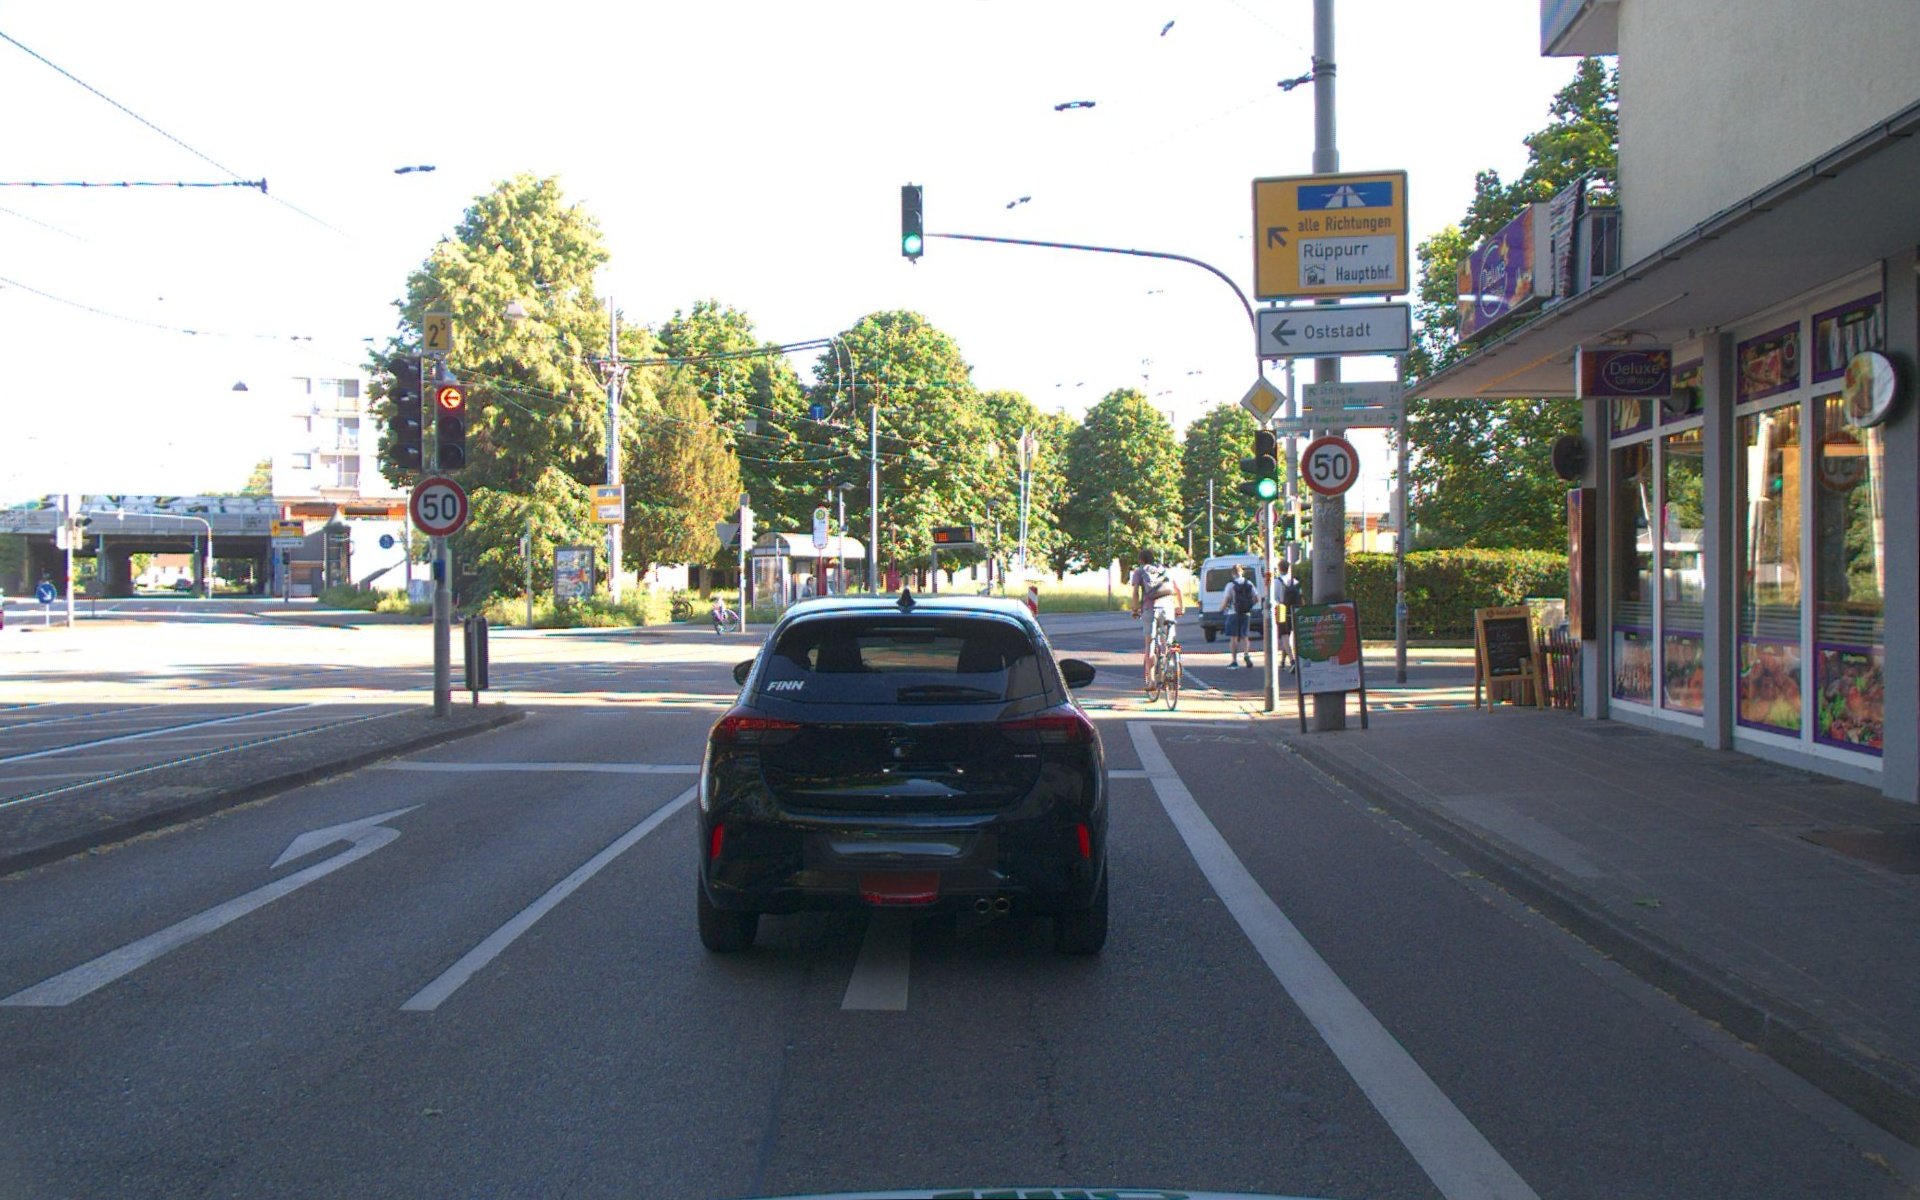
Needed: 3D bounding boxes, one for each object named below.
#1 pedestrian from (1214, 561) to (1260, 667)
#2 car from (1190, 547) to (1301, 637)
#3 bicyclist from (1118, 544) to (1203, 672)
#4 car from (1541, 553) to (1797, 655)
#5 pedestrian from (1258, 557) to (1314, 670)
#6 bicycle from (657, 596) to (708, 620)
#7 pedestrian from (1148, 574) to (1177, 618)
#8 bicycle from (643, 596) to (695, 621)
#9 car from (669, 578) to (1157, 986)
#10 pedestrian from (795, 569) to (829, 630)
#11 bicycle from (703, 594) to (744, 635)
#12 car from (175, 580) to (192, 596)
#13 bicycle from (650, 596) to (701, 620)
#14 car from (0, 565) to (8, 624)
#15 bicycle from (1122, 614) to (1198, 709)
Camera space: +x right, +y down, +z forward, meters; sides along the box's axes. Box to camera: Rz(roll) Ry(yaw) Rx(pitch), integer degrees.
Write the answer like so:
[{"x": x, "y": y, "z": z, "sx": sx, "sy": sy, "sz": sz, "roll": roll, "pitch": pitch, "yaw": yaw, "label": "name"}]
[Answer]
[{"x": 4.801, "y": 0.238, "z": 28.688, "sx": 0.684, "sy": 1.823, "sz": 0.617, "roll": 0, "pitch": 0, "yaw": -1, "label": "pedestrian"}, {"x": 7.836, "y": -0.195, "z": 45.034, "sx": 2.047, "sy": 2.317, "sz": 4.305, "roll": 1, "pitch": 0, "yaw": 23, "label": "car"}, {"x": 2.470, "y": 0.084, "z": 20.516, "sx": 0.823, "sy": 1.536, "sz": 1.368, "roll": 0, "pitch": 1, "yaw": -3, "label": "bicyclist"}, {"x": 13.350, "y": 0.109, "z": 31.352, "sx": 4.087, "sy": 1.846, "sz": 1.807, "roll": 0, "pitch": -2, "yaw": 7, "label": "car"}, {"x": 5.555, "y": 0.220, "z": 28.195, "sx": 0.691, "sy": 1.878, "sz": 0.697, "roll": 0, "pitch": 0, "yaw": 39, "label": "pedestrian"}, {"x": -10.778, "y": 0.299, "z": 64.329, "sx": 1.837, "sy": 0.922, "sz": 0.660, "roll": 0, "pitch": 0, "yaw": 6, "label": "bicycle"}, {"x": 8.384, "y": -0.178, "z": 68.425, "sx": 0.939, "sy": 1.824, "sz": 0.995, "roll": 0, "pitch": 0, "yaw": 25, "label": "pedestrian"}, {"x": -10.983, "y": 0.324, "z": 62.469, "sx": 1.837, "sy": 0.922, "sz": 0.660, "roll": 0, "pitch": 0, "yaw": 6, "label": "bicycle"}, {"x": -0.154, "y": 0.638, "z": 7.975, "sx": 1.763, "sy": 1.466, "sz": 3.940, "roll": 0, "pitch": 1, "yaw": 0, "label": "car"}, {"x": -4.276, "y": -0.016, "z": 47.691, "sx": 0.694, "sy": 1.722, "sz": 0.718, "roll": -1, "pitch": 0, "yaw": -38, "label": "pedestrian"}, {"x": -6.479, "y": 0.393, "z": 45.351, "sx": 0.808, "sy": 1.078, "sz": 1.883, "roll": 0, "pitch": 1, "yaw": 1, "label": "bicycle"}, {"x": -106.895, "y": -1.640, "z": 227.636, "sx": 1.970, "sy": 2.049, "sz": 3.965, "roll": 1, "pitch": 0, "yaw": -27, "label": "car"}, {"x": -10.907, "y": 0.300, "z": 63.455, "sx": 1.837, "sy": 0.922, "sz": 0.660, "roll": 0, "pitch": 0, "yaw": 6, "label": "bicycle"}, {"x": -28.634, "y": -0.165, "z": 47.703, "sx": 1.973, "sy": 1.660, "sz": 4.584, "roll": -1, "pitch": 1, "yaw": -30, "label": "car"}, {"x": 2.457, "y": 0.732, "z": 20.507, "sx": 0.653, "sy": 1.078, "sz": 2.081, "roll": 0, "pitch": 1, "yaw": -1, "label": "bicycle"}]
